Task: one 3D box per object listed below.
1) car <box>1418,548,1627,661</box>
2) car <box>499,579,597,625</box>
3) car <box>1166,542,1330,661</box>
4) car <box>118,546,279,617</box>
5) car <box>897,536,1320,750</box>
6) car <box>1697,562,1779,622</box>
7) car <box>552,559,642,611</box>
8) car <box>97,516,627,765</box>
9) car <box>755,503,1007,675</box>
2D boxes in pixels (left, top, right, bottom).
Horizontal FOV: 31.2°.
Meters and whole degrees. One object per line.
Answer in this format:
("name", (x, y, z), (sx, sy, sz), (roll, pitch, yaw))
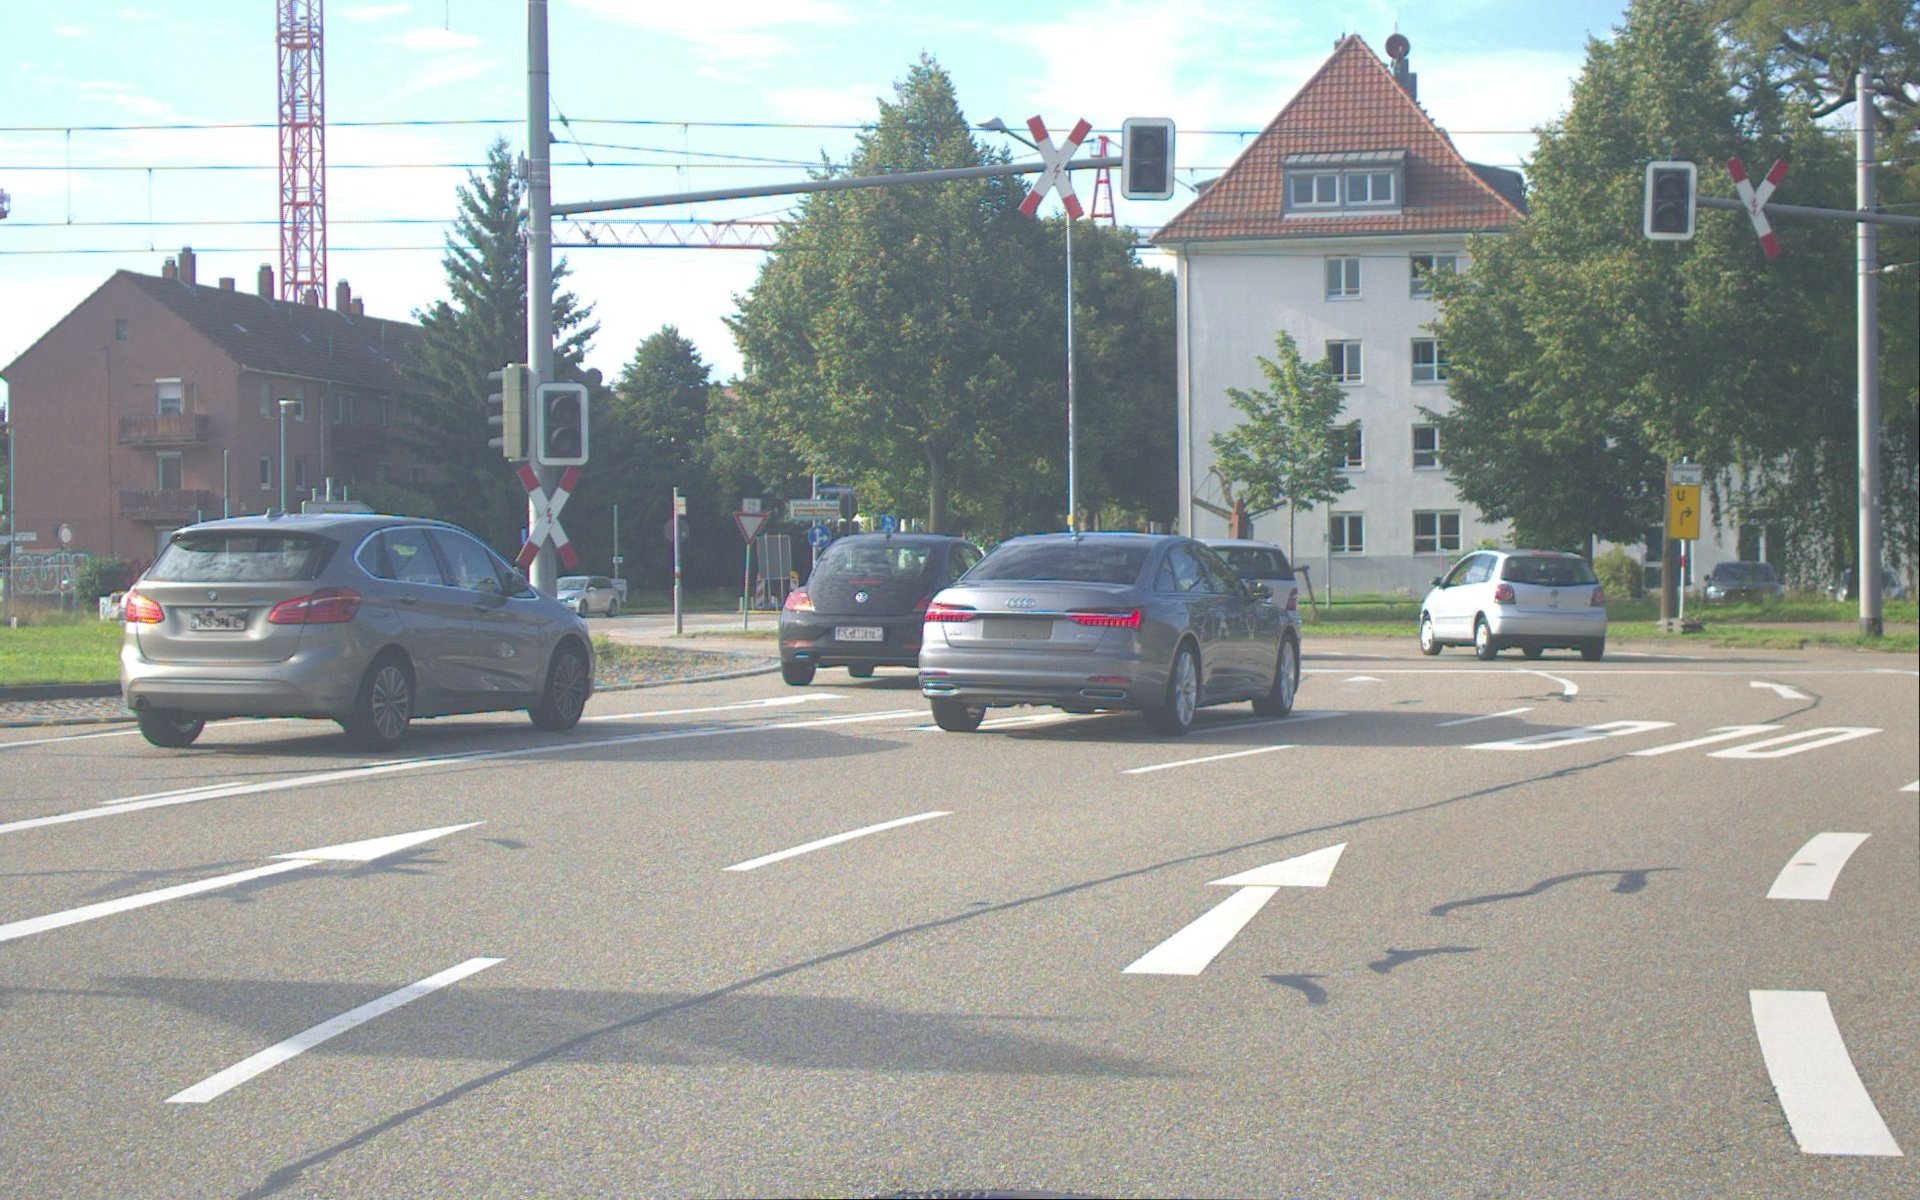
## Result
("car", (7.451, 0.051, 45.940), (1.850, 1.421, 4.455), (1, 0, -3))
("car", (-14.148, 0.054, 118.228), (1.897, 1.538, 4.658), (1, 0, 13))
("car", (3.747, 0.008, 45.389), (1.850, 1.473, 4.455), (1, 0, 1))
("car", (-20.791, -0.490, 94.039), (1.898, 1.896, 4.655), (1, 0, 24))
("car", (1.237, 0.243, 25.912), (1.852, 1.440, 4.710), (1, 1, 20))
("car", (18.727, -0.199, 82.724), (1.856, 1.376, 4.512), (-1, 0, 13))
("car", (-13.439, -0.558, 127.541), (1.897, 1.896, 4.658), (1, 0, 13))
("car", (-4.026, 0.248, 23.840), (1.769, 1.567, 4.063), (1, 0, 21))
("car", (-0.706, -0.090, 33.800), (1.994, 1.536, 3.999), (2, 0, 5))
